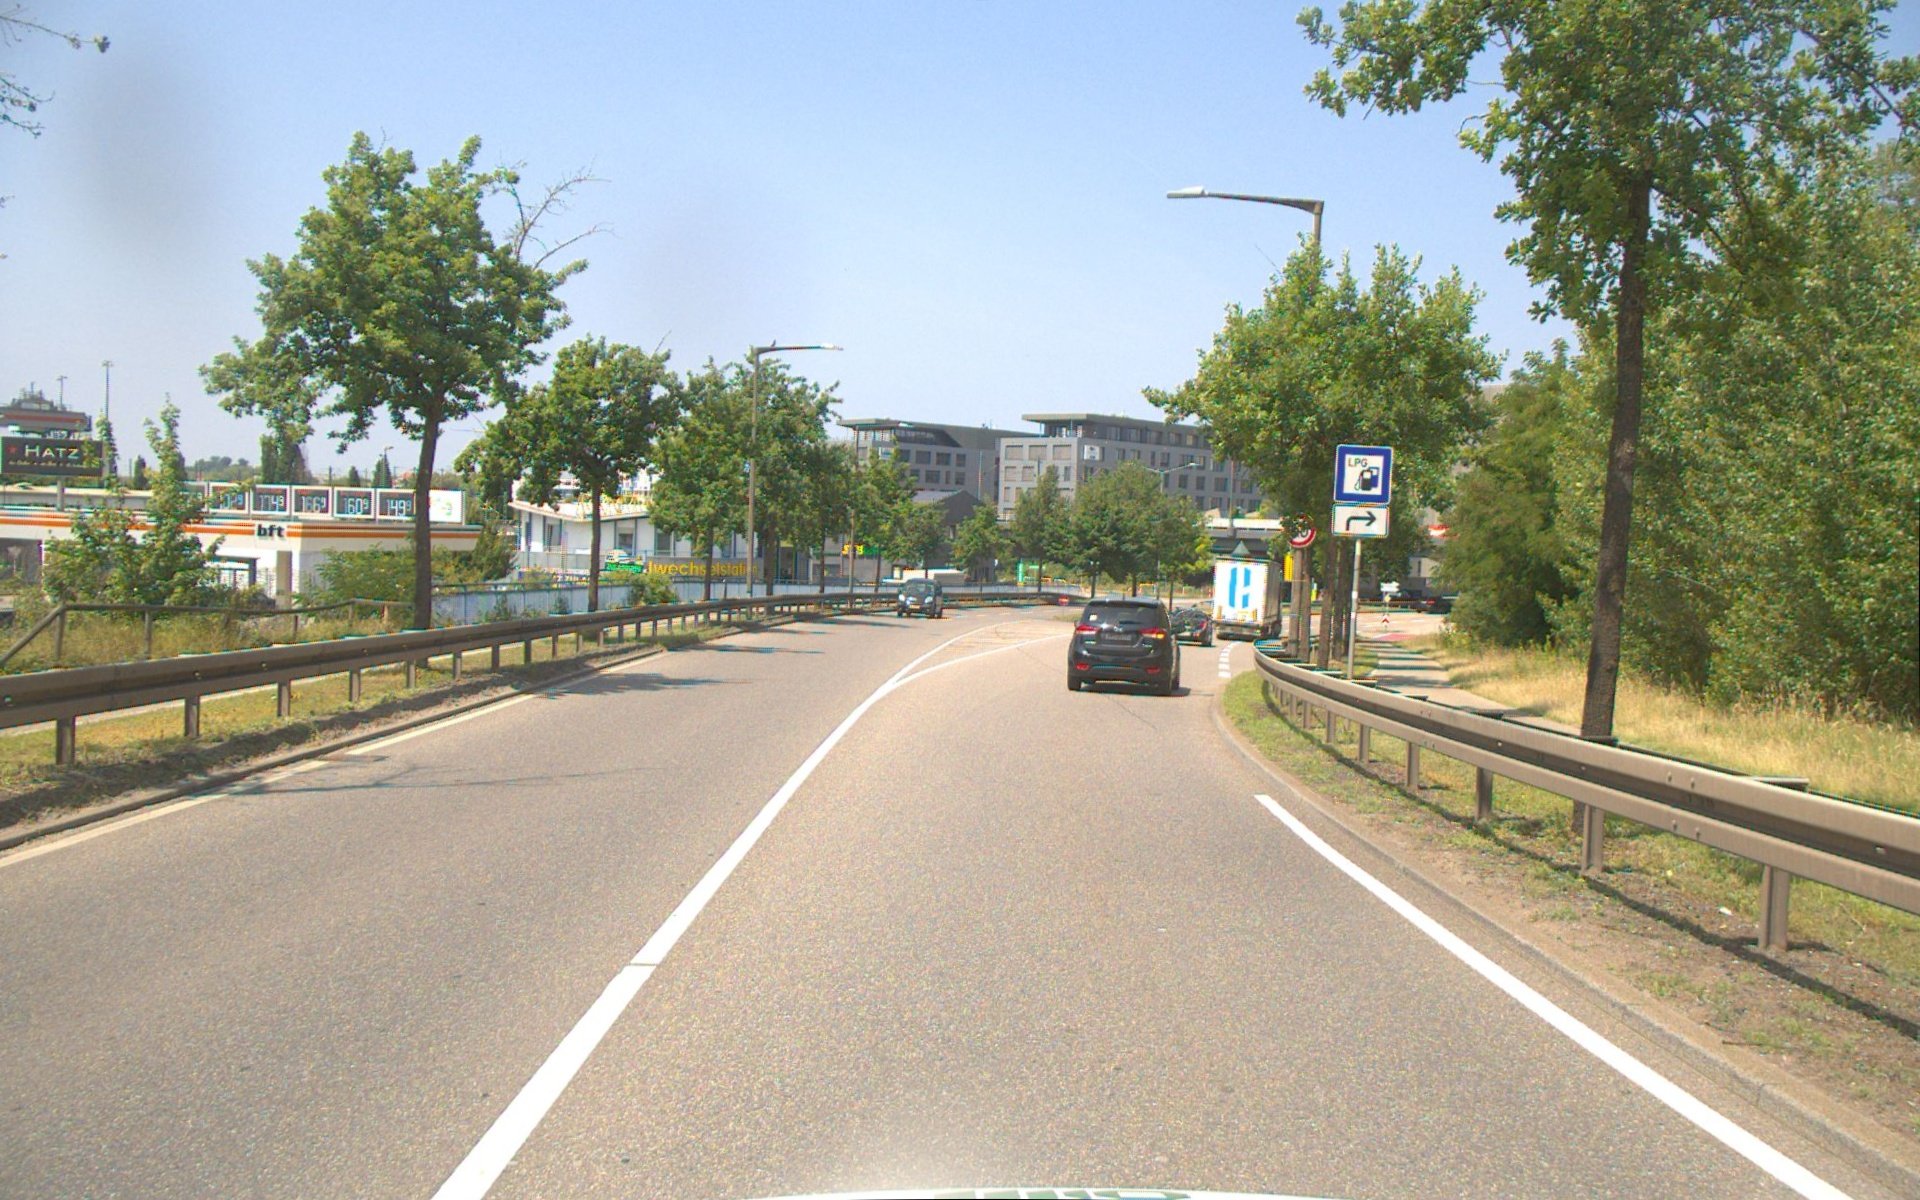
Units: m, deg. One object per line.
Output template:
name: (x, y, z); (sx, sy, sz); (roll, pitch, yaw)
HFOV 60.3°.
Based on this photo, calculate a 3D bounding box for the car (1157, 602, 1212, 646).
car: (9.026, 0.930, 66.318); (1.915, 1.662, 4.284); (2, 0, 11)

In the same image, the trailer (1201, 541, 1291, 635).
trailer: (15.218, -0.747, 86.980); (3.013, 4.444, 14.786); (2, 2, 16)

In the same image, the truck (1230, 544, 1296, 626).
truck: (17.446, -0.909, 94.939); (3.011, 4.444, 6.083); (2, 2, 16)

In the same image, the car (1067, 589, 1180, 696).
car: (2.918, 0.690, 28.879); (1.730, 1.627, 4.081); (3, 0, 8)

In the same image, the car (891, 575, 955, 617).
car: (-1.691, -0.166, 77.679); (1.769, 1.790, 4.255); (3, 0, 15)
